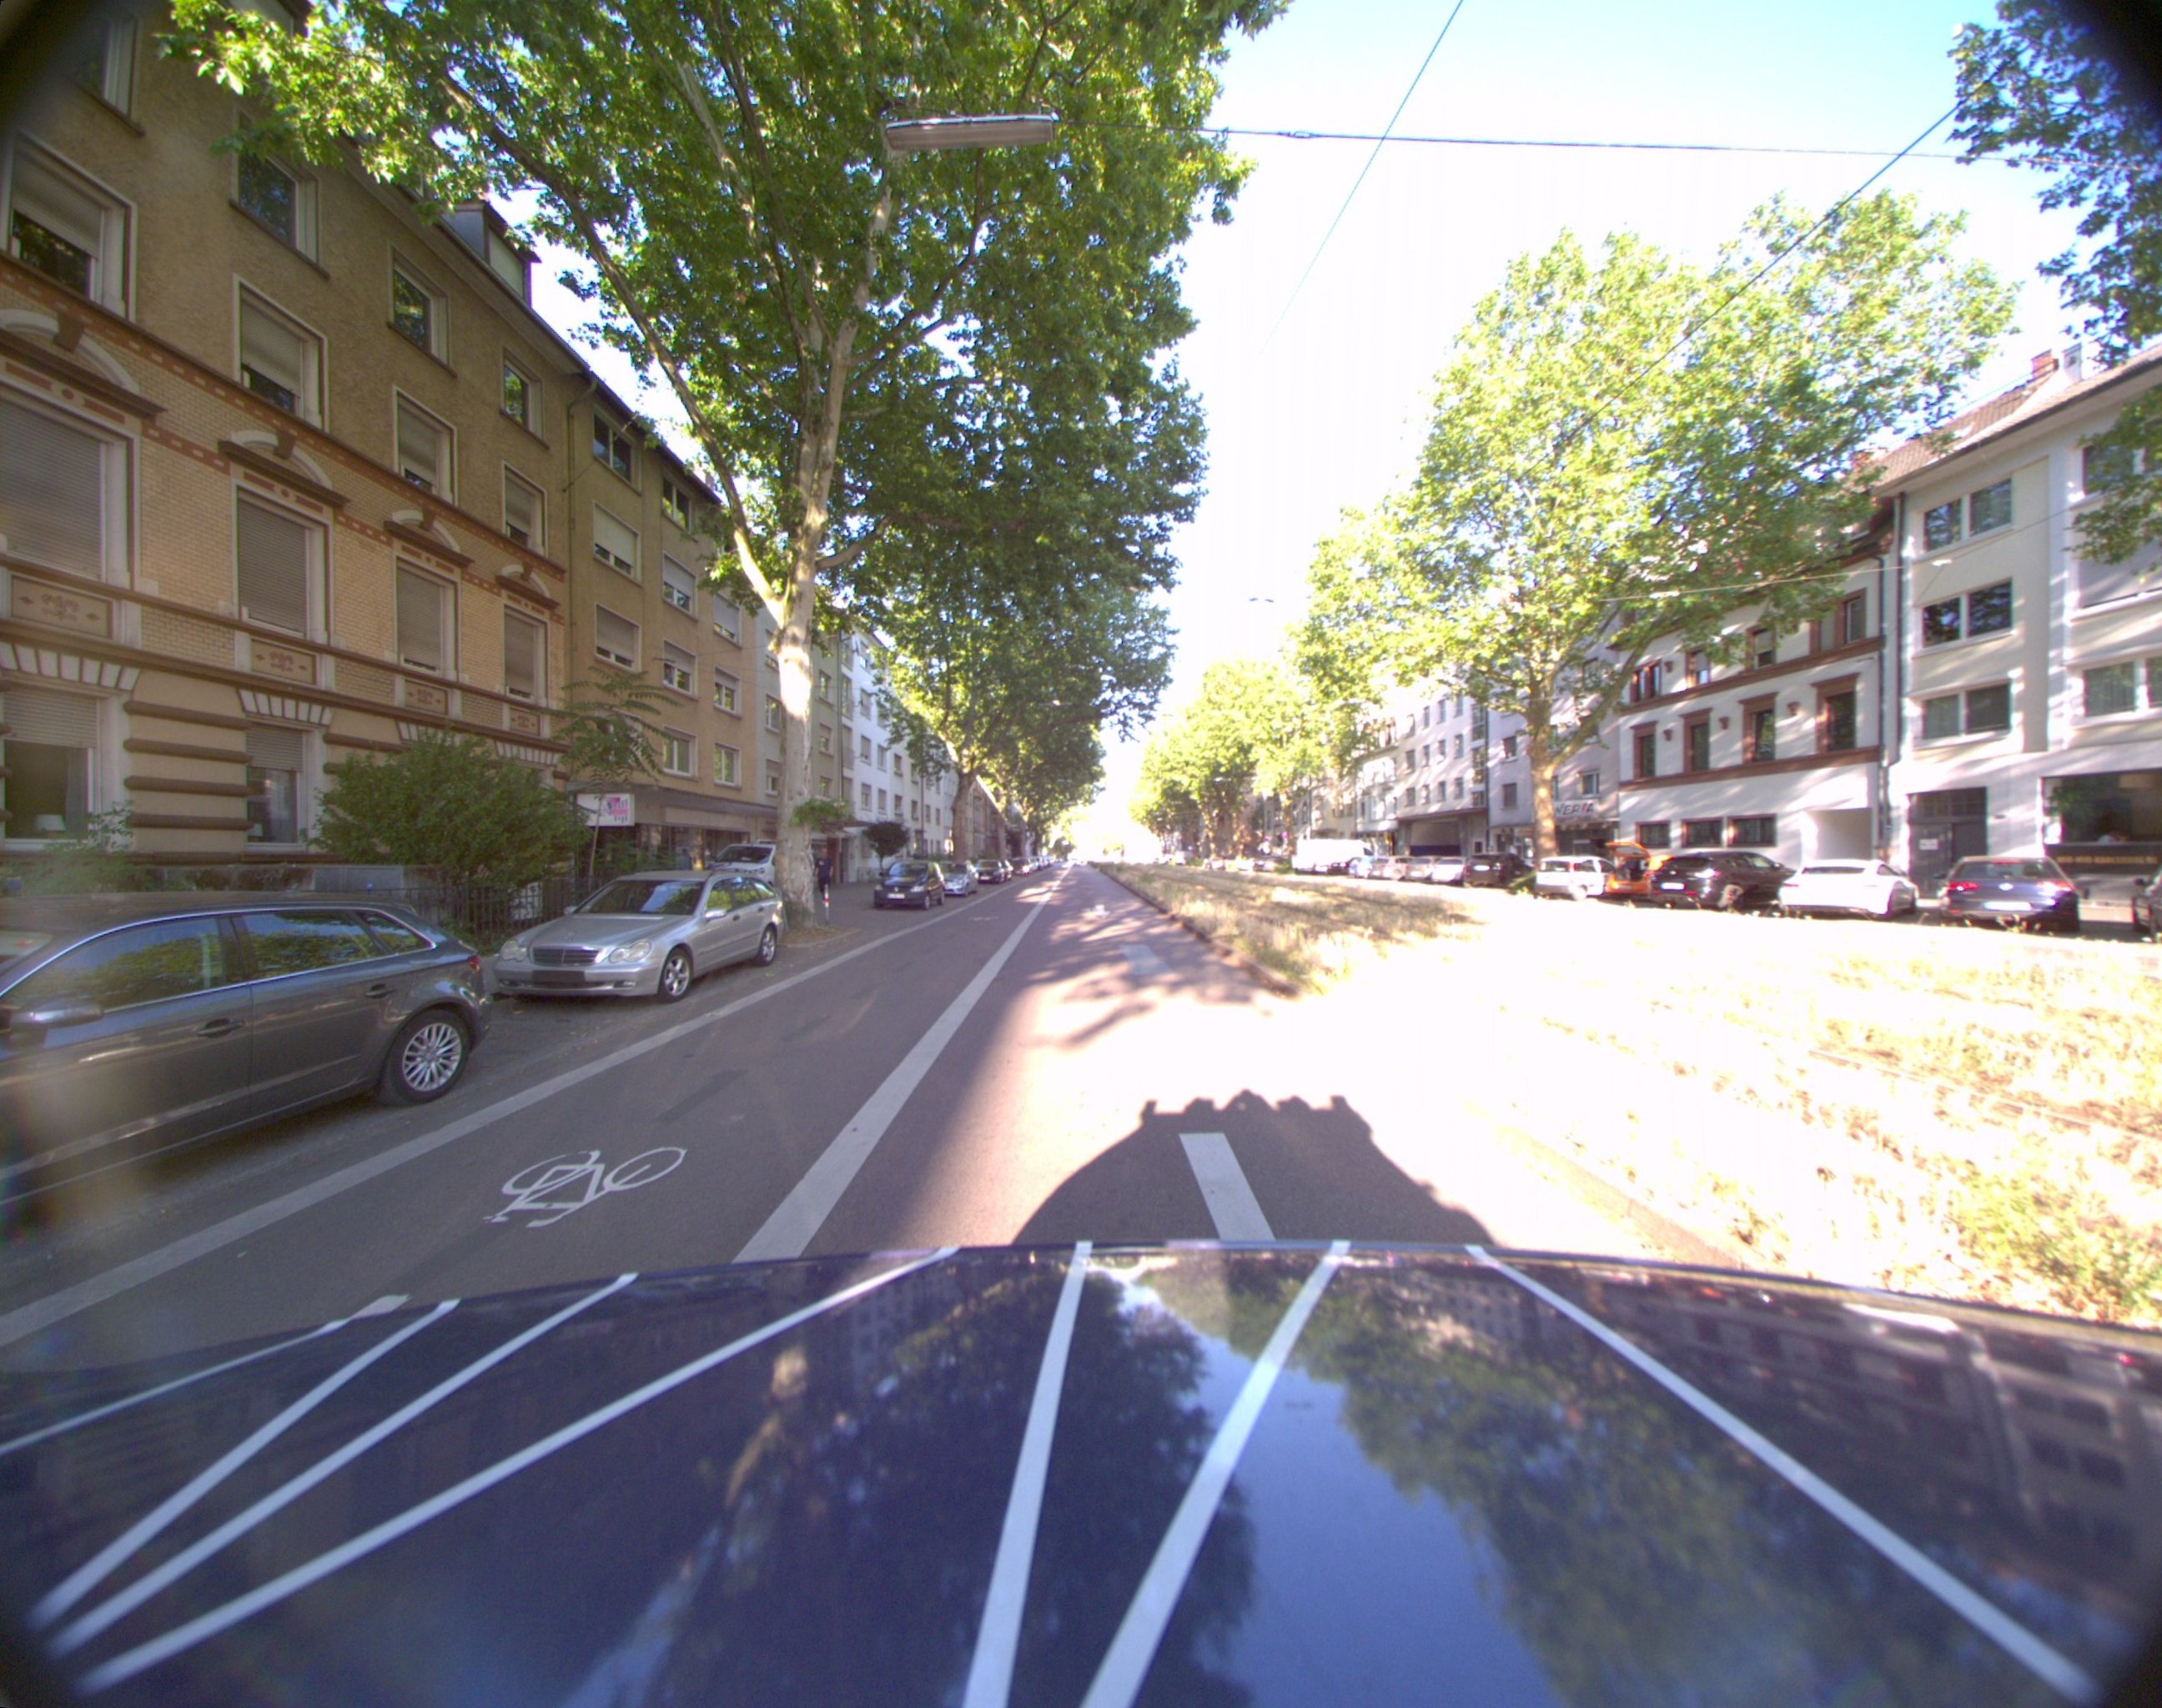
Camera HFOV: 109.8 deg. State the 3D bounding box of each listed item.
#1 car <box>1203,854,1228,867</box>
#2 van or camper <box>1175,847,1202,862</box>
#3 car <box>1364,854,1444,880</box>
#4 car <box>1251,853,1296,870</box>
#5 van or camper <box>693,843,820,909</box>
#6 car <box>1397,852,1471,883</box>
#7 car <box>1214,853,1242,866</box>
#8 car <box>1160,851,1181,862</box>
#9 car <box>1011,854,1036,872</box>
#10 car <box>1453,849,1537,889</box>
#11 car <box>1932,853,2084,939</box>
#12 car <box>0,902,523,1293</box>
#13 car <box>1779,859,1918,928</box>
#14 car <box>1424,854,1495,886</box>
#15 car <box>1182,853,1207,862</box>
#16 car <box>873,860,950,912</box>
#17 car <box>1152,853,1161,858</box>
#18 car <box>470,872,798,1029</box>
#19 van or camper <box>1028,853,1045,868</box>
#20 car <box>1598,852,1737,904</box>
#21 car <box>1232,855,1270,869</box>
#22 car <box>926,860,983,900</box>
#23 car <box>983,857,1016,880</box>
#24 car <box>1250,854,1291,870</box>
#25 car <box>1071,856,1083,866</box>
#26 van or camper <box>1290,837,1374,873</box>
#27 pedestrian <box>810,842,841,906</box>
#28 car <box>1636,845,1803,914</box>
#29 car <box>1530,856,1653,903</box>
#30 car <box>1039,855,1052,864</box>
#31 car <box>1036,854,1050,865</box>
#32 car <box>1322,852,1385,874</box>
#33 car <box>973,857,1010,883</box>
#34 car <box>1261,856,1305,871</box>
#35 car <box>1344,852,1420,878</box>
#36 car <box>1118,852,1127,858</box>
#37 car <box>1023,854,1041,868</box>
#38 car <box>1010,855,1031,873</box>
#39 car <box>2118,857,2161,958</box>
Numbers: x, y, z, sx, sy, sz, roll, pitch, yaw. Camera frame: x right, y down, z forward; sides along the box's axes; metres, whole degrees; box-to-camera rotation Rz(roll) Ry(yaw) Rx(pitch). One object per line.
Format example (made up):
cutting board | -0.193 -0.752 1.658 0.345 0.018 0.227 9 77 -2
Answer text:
car | 15.042 0.741 85.110 1.825 1.382 4.483 2 0 -1
van or camper | 18.363 0.069 129.732 4.371 2.386 2.196 -4 2 -40
car | 19.171 0.745 45.093 4.002 1.483 1.948 0 0 -13
car | 18.644 0.752 73.560 4.169 1.583 1.932 2 -1 -36
van or camper | -10.438 0.645 24.966 1.947 1.911 5.390 0 0 -1
car | 19.061 0.703 40.963 4.006 1.414 1.752 -3 1 -34
car | 18.831 0.672 97.419 1.726 1.643 4.009 -1 -1 40
car | 18.317 0.429 154.820 4.007 2.002 1.995 -3 1 -42
car | -5.484 0.826 73.273 1.999 1.557 4.663 2 1 0
car | 18.684 0.648 34.245 4.008 1.651 1.995 -1 0 -41
car | 19.360 0.796 16.038 4.007 1.433 1.797 -3 1 -43
car | -5.184 1.068 3.671 1.714 1.388 4.321 0 0 1
car | 18.649 0.880 18.415 4.212 1.325 1.718 -3 1 -36
car | 18.903 0.772 37.875 4.008 1.377 1.907 -2 0 -45
car | 18.976 0.633 127.209 4.006 1.240 1.726 -4 1 -34
car | -5.429 0.975 24.732 1.658 1.536 3.999 0 0 -1
car | 20.191 0.387 202.889 1.998 1.412 4.000 -2 1 2
car | -5.345 1.026 9.938 1.678 1.443 4.570 0 0 -2
van or camper | -5.412 0.784 92.715 1.790 1.710 4.379 1 0 1
car | 19.497 0.759 25.275 4.003 1.471 1.774 -3 1 -20
car | 18.209 0.818 81.444 3.687 1.382 1.822 -1 0 -31
car | -5.312 1.062 32.488 1.699 1.533 4.776 0 0 -1
car | -5.404 0.939 50.577 1.713 1.407 4.363 2 0 0
car | 19.218 0.839 76.940 4.008 1.524 1.821 1 -1 -36
car | -0.707 1.154 126.681 1.893 1.501 4.000 -2 1 1
van or camper | 18.980 0.040 57.464 5.974 2.631 2.175 -1 0 -20
pedestrian | -8.182 0.632 24.364 0.684 2.002 1.012 0 1 -2
car | 18.296 0.710 21.763 4.370 1.776 1.989 1 1 -26
car | 18.037 0.836 26.825 4.369 1.440 1.655 -2 1 -26
car | -5.611 0.857 119.811 1.790 1.458 3.569 1 0 0
car | -5.486 0.808 109.738 1.790 1.609 3.829 1 0 0
car | 19.704 0.639 54.955 4.004 1.482 1.996 0 0 -22
car | -5.318 0.930 45.687 1.713 1.407 4.363 2 0 0
car | 18.698 0.848 70.273 4.014 1.349 1.797 1 0 -37
car | 18.964 0.676 47.988 3.998 1.412 1.857 -3 1 -4
car | 11.203 0.331 204.860 1.997 1.477 4.002 -2 1 8
car | -5.547 0.811 86.416 1.702 1.517 4.194 0 0 0
car | -5.283 0.874 66.498 1.748 1.455 4.024 0 0 -5
car | 19.054 0.837 12.697 4.007 1.433 1.717 -3 1 -41
